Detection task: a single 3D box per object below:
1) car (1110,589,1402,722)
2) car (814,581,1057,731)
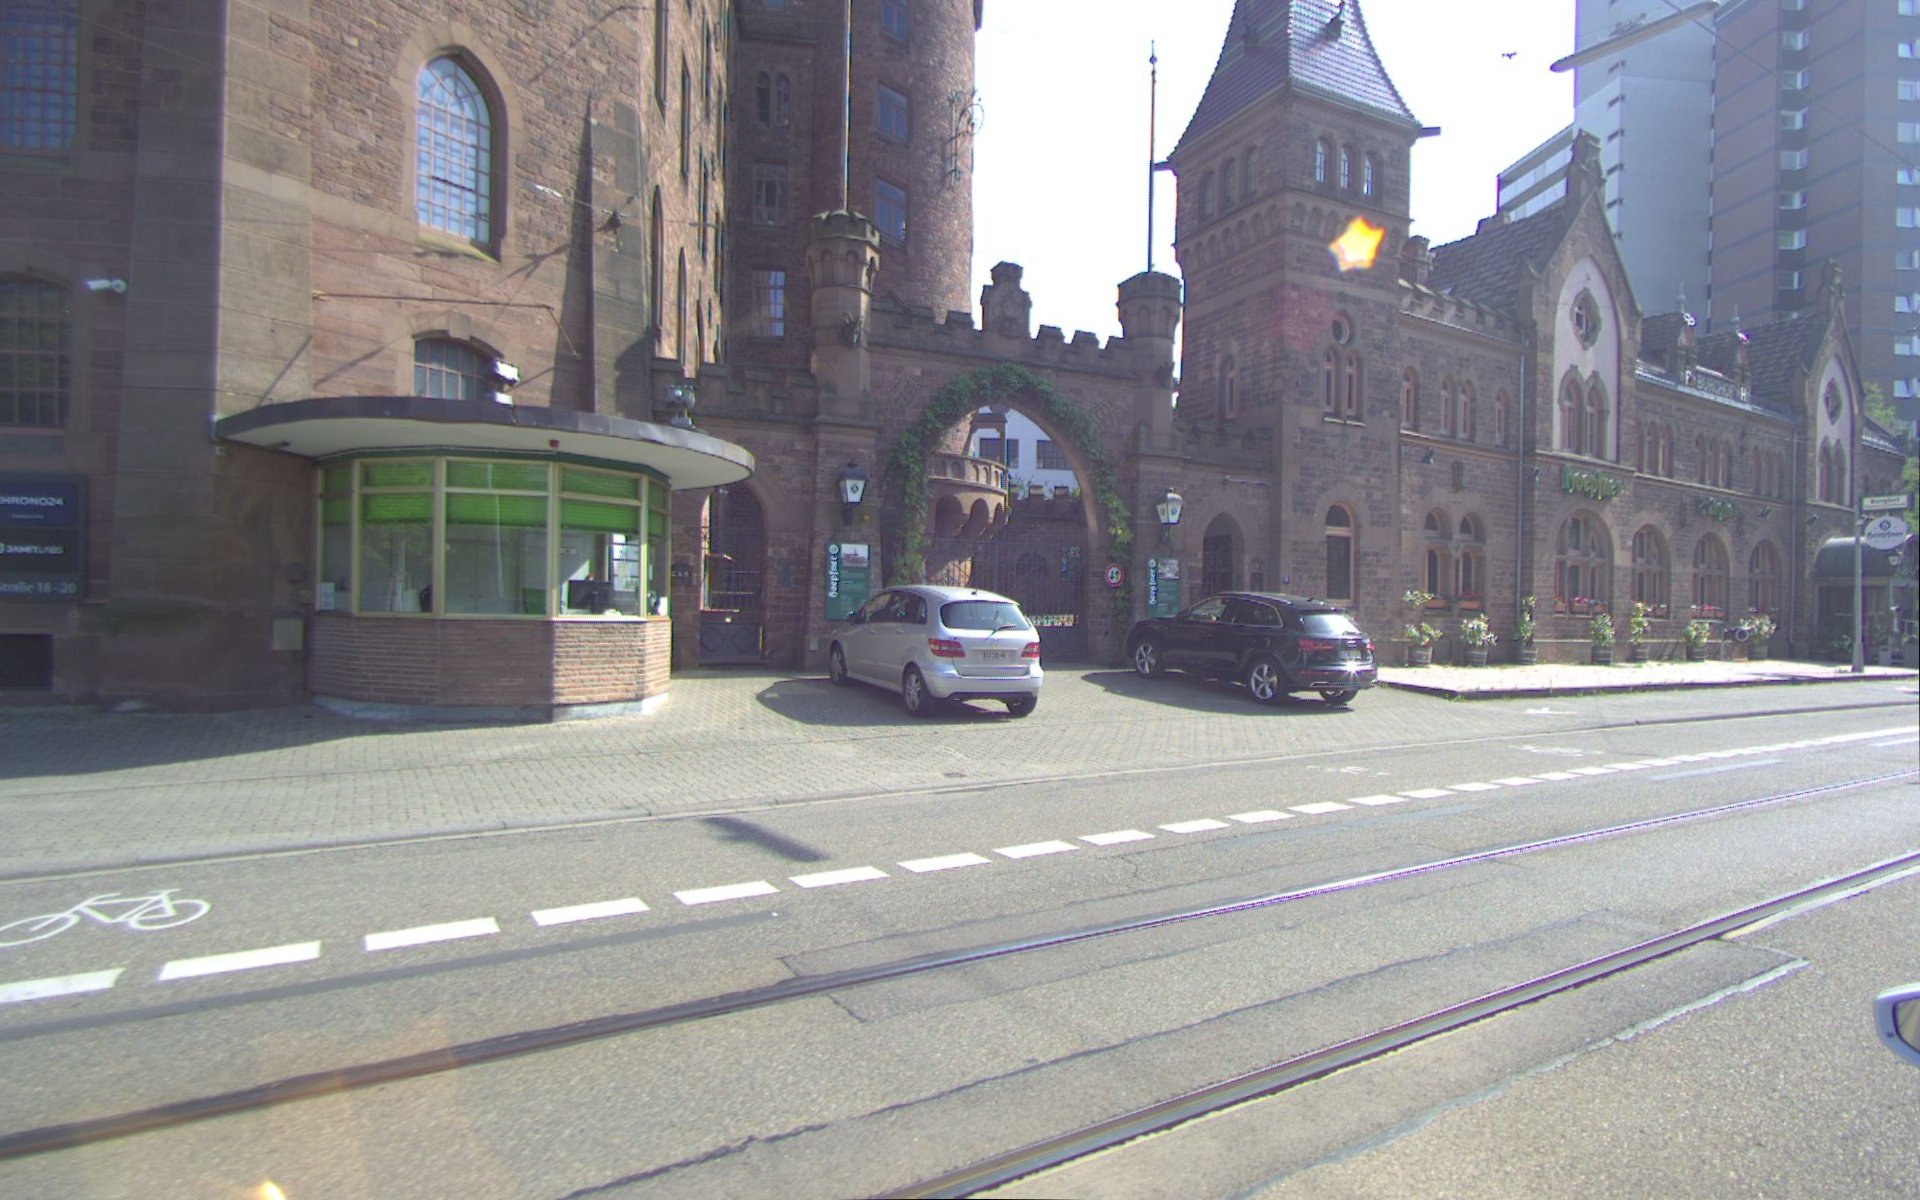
[{"bbox_3d":[4.734,0.794,16.698,1.936,1.668,4.369,1,3,-34],"label":"car"},{"bbox_3d":[-0.498,0.656,14.133,1.800,1.617,3.882,1,3,-29],"label":"car"}]
